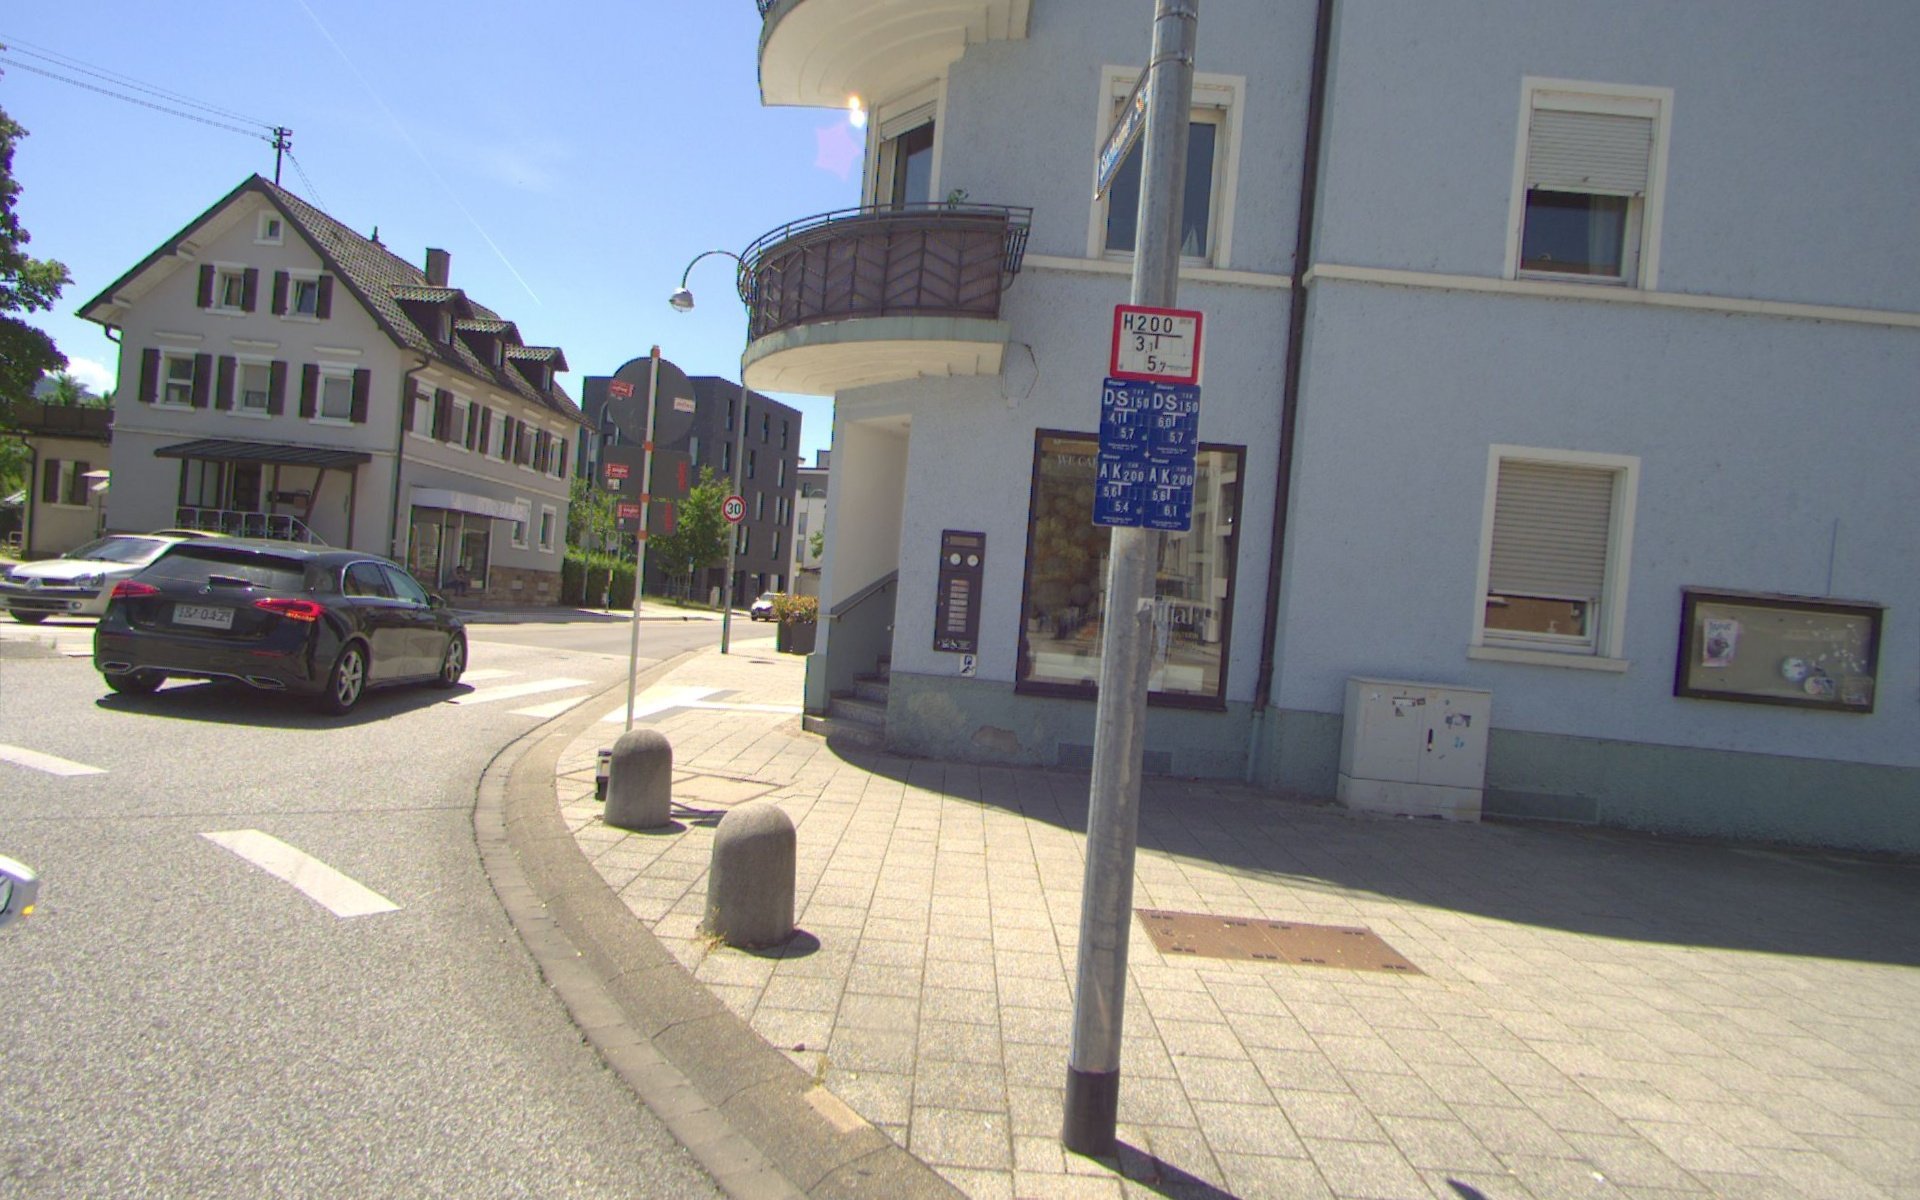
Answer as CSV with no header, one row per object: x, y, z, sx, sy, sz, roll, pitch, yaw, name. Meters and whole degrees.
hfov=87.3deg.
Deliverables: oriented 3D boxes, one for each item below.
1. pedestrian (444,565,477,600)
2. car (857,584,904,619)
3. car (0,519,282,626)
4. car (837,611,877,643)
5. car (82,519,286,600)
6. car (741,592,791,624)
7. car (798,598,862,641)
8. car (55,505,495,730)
-16.482,-0.577,33.199,0.659,1.068,0.699,5,0,-2,pedestrian
-5.385,0.143,68.496,1.962,2.039,4.002,6,0,12,car
-12.731,-0.360,15.780,1.520,1.430,3.719,2,-1,3,car
-5.399,1.411,52.966,1.580,1.549,3.492,4,0,2,car
-20.232,-1.026,26.331,3.924,1.660,1.758,6,0,3,car
-10.626,0.459,55.351,1.648,1.562,4.085,3,-1,4,car
-5.080,0.755,39.747,1.722,1.504,4.001,4,-1,3,car
-6.245,0.121,9.918,1.740,1.474,4.430,9,-1,-10,car
